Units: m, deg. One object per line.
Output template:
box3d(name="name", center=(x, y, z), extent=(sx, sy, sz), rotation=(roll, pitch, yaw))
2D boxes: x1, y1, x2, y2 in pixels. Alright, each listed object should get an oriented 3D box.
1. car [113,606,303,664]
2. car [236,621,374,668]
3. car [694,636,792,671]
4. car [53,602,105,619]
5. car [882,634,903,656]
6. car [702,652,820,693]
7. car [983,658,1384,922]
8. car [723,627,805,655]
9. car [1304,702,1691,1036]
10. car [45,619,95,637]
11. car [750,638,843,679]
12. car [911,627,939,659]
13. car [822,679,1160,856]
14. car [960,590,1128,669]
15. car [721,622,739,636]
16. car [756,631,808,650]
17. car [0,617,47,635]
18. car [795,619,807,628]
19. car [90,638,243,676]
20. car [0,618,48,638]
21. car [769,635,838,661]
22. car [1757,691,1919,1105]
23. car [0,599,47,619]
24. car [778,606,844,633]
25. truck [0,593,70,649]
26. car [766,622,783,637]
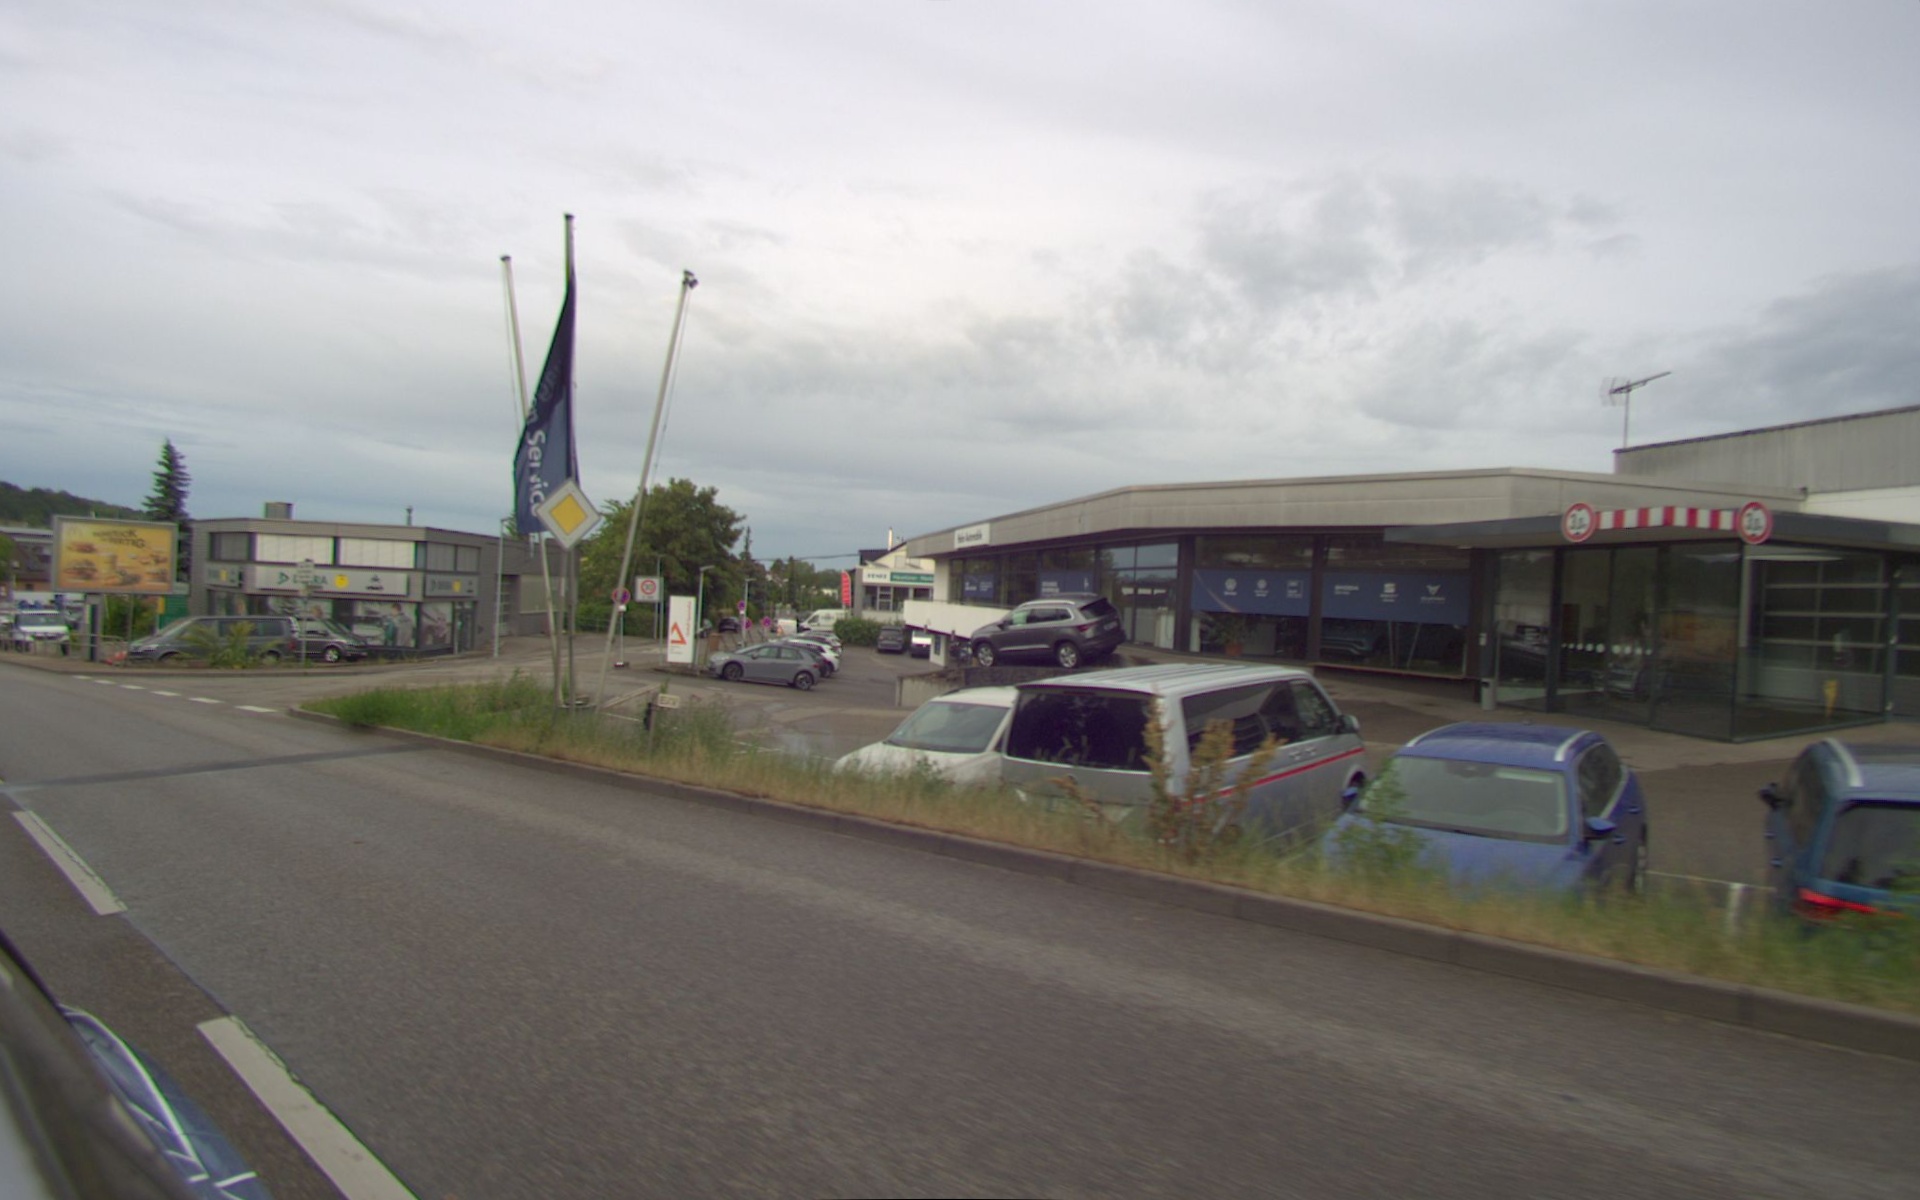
box3d(name="car", center=(-26.363, 1.242, 35.707), extent=(1.817, 1.885, 5.028), rotation=(0, -2, 32))
box3d(name="car", center=(-29.069, 1.960, 45.046), extent=(4.805, 2.002, 2.001), rotation=(-1, -1, -3))
box3d(name="car", center=(-9.504, 2.341, 44.306), extent=(3.921, 1.439, 1.785), rotation=(2, -2, -24))
box3d(name="car", center=(-108.792, 1.331, 125.020), extent=(2.025, 1.878, 4.920), rotation=(2, -2, 0))
box3d(name="car", center=(-4.970, 3.290, 74.322), extent=(1.511, 1.502, 3.066), rotation=(1, -2, -5))
box3d(name="car", center=(-7.540, 2.718, 38.365), extent=(4.034, 1.439, 1.896), rotation=(2, -2, -24))
box3d(name="car", center=(2.321, 1.488, 9.564), extent=(1.932, 1.811, 4.368), rotation=(-1, -3, 40))
box3d(name="car", center=(-10.406, 2.181, 53.644), extent=(3.921, 1.439, 1.850), rotation=(2, -2, -24))
box3d(name="car", center=(4.657, 1.841, 8.408), extent=(2.000, 1.708, 4.368), rotation=(-1, -3, 40))
box3d(name="car", center=(-75.603, 2.376, 86.020), extent=(1.798, 1.426, 4.022), rotation=(2, -2, -20))
box3d(name="car", center=(-7.687, 2.729, 47.517), extent=(3.921, 1.802, 1.826), rotation=(2, -2, -24))
box3d(name="car", center=(-2.546, 3.109, 74.056), extent=(1.971, 2.029, 5.880), rotation=(1, 0, -2))
box3d(name="car", center=(0.521, 1.723, 11.553), extent=(1.822, 1.489, 3.968), rotation=(-1, -3, 40))
box3d(name="car", center=(2.020, 0.727, 25.307), extent=(4.252, 1.814, 1.384), rotation=(0, -3, 44))
box3d(name="car", center=(-21.452, 2.709, 94.498), extent=(1.360, 1.197, 3.067), rotation=(1, -2, -7))
box3d(name="car", center=(-11.395, 2.602, 64.643), extent=(3.010, 1.197, 1.386), rotation=(2, -2, -24))
box3d(name="car", center=(-85.193, 2.342, 91.346), extent=(3.987, 1.463, 1.790), rotation=(2, -1, 0))
box3d(name="car", center=(-20.347, 3.011, 129.532), extent=(1.360, 1.197, 3.067), rotation=(1, -2, -7))
box3d(name="car", center=(-29.181, 2.058, 37.334), extent=(1.762, 1.277, 4.066), rotation=(0, -2, 28))
box3d(name="car", center=(-78.908, 2.351, 85.033), extent=(1.760, 1.521, 4.056), rotation=(2, -1, -17))
box3d(name="car", center=(-8.903, 2.708, 57.630), extent=(3.530, 1.439, 1.588), rotation=(2, -2, -24))
box3d(name="car", center=(6.330, 1.599, 6.345), extent=(1.999, 1.811, 4.370), rotation=(-1, -3, 38))
box3d(name="car", center=(-109.114, 1.056, 117.104), extent=(2.025, 2.102, 5.254), rotation=(2, -2, 0))
box3d(name="car", center=(-13.498, 1.758, 92.117), extent=(5.790, 2.387, 2.149), rotation=(1, 0, -4))
box3d(name="truck", center=(-47.356, 1.037, 51.216), extent=(7.881, 2.653, 1.974), rotation=(0, -3, 38))
box3d(name="car", center=(-18.882, 2.974, 103.225), extent=(1.487, 1.470, 3.441), rotation=(1, -2, -7))
